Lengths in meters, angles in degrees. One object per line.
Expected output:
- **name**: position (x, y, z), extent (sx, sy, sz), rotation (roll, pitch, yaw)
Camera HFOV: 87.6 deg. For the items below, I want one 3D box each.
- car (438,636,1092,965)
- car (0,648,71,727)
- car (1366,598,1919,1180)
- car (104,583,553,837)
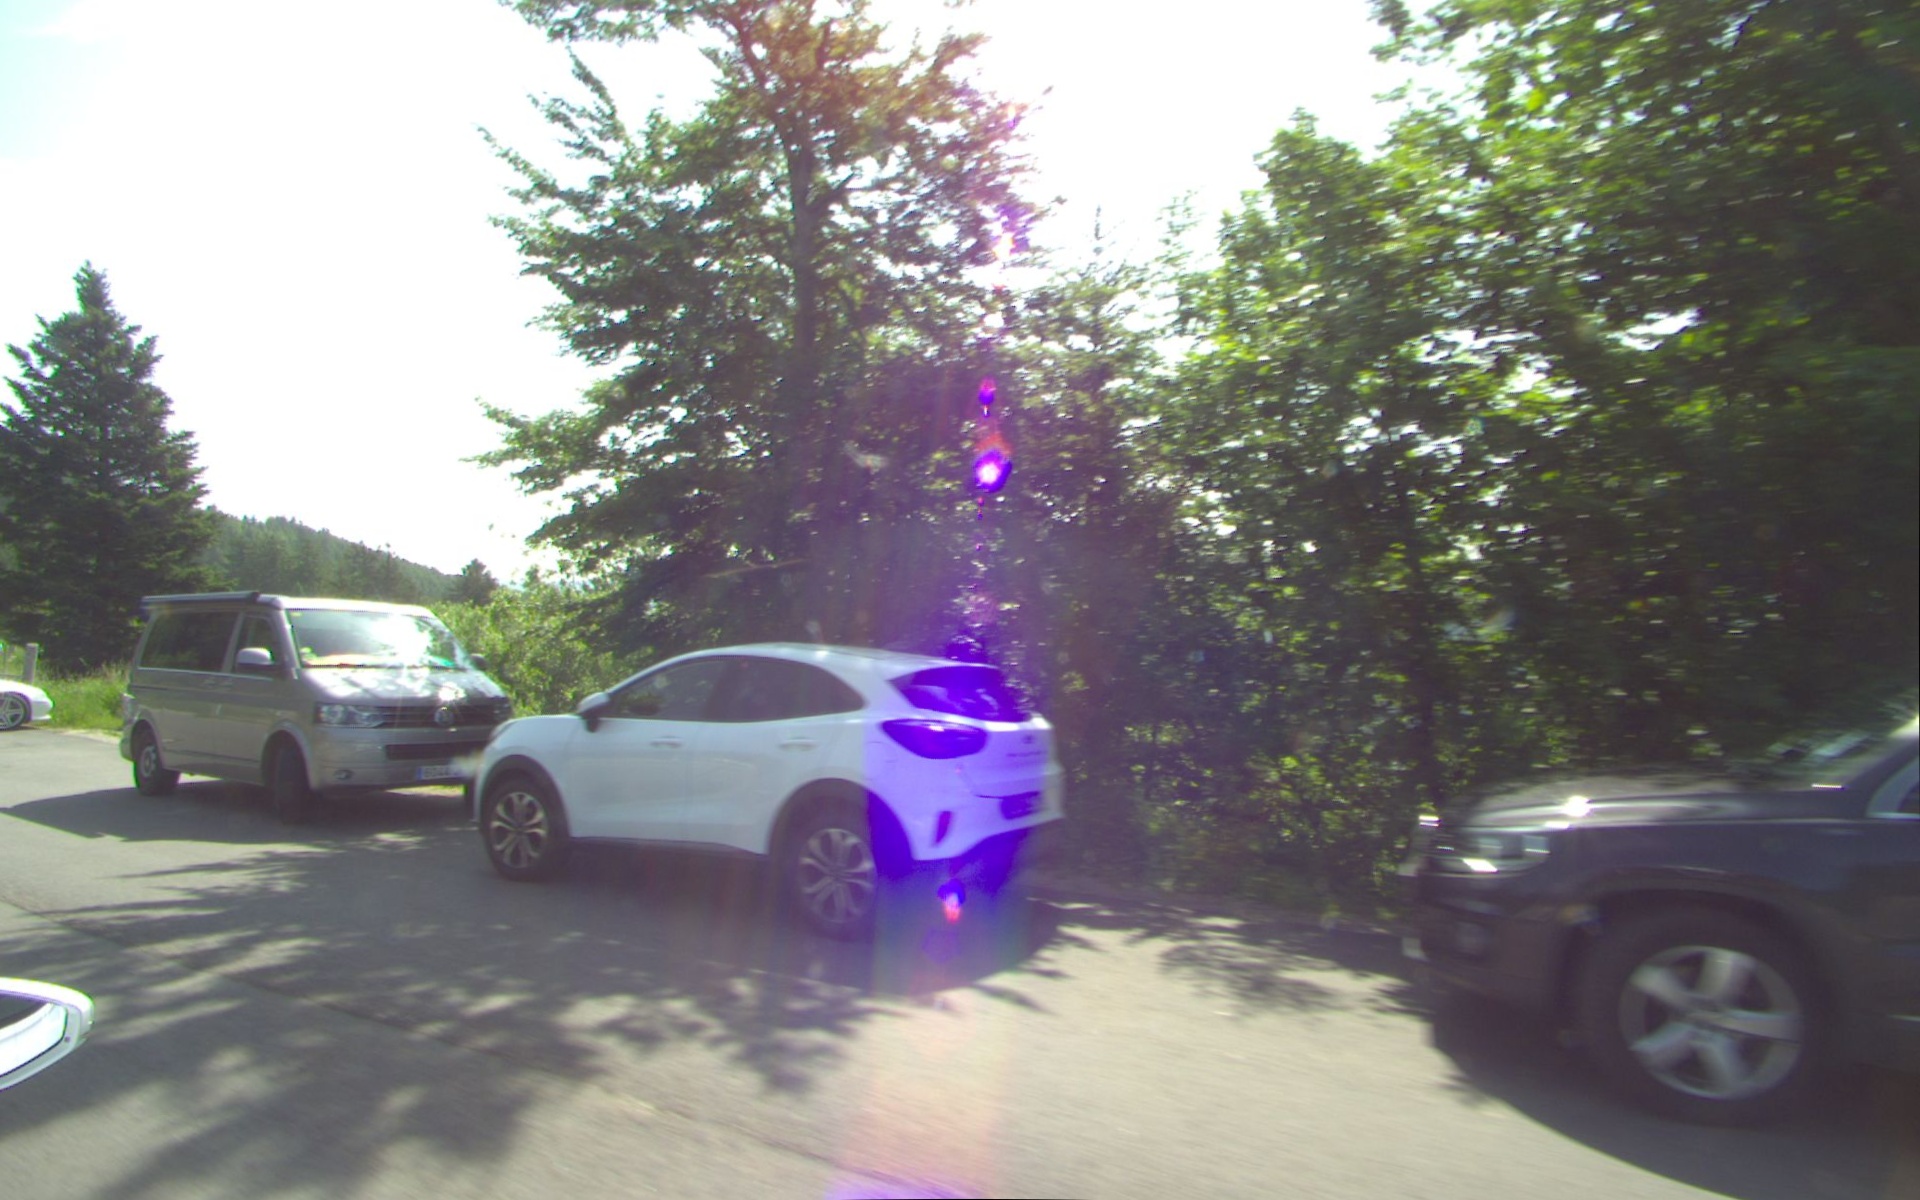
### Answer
- **car**: position (-1.330, 1.037, 6.451), extent (3.989, 1.536, 1.679), rotation (-1, -4, 30)
- **car**: position (-17.230, 1.375, 15.923), extent (1.553, 1.314, 4.469), rotation (1, -4, 15)
- **car**: position (3.729, 0.874, 3.295), extent (4.245, 1.651, 1.743), rotation (-1, -4, 31)
- **car**: position (-6.420, 0.947, 10.022), extent (4.751, 1.996, 1.903), rotation (0, -4, 33)
